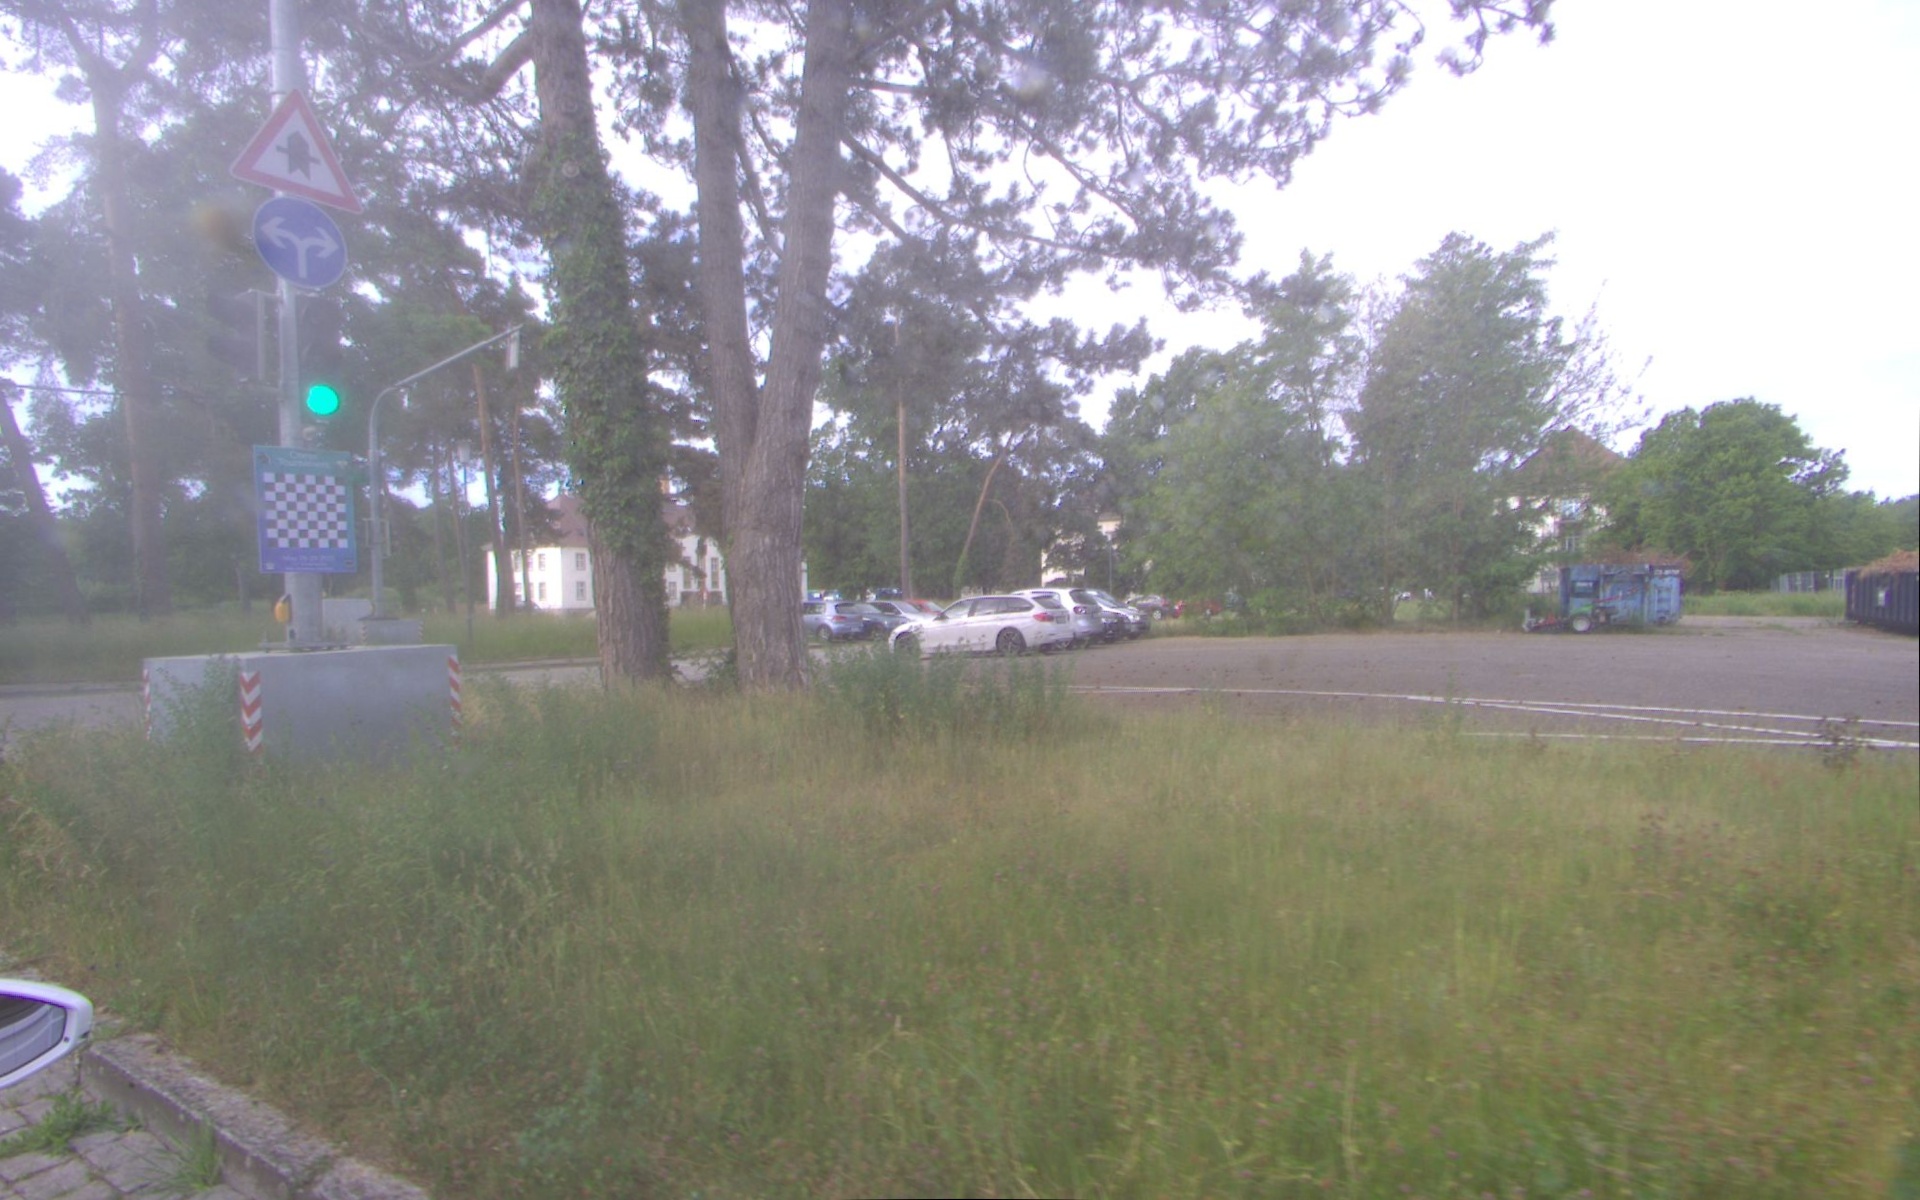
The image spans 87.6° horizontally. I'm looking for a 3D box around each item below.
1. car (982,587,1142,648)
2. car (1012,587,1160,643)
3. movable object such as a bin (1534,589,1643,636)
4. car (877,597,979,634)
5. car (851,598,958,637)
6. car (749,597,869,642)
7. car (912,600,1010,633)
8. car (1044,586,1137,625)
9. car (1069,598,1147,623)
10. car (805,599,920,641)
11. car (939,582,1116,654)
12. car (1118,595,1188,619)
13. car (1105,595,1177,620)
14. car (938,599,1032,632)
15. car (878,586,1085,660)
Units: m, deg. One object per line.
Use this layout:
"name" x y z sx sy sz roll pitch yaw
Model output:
"car" 2.855 0.515 28.421 4.186 1.504 1.697 -4 -1 33
"car" 3.867 0.488 31.017 4.186 1.504 1.697 -4 -1 33
"movable object such as a bin" 15.659 0.323 25.029 2.176 1.149 0.960 -1 -1 23
"car" -1.384 0.630 42.401 4.189 1.487 1.727 0 0 38
"car" -2.256 0.668 40.150 4.189 1.487 1.727 0 0 38
"car" -5.413 0.676 35.773 4.184 1.529 1.730 0 0 33
"car" 0.010 0.706 44.271 4.189 1.409 1.727 0 0 38
"car" 7.275 0.308 55.925 4.724 2.053 2.131 0 0 33
"car" 8.556 0.577 58.018 4.184 1.409 1.729 0 0 34
"car" -3.696 0.728 37.798 4.184 1.487 1.730 0 0 33
"car" 1.744 0.474 26.016 4.181 1.626 1.779 -3 -1 29
"car" 12.721 0.468 65.977 4.182 1.542 1.730 0 0 32
"car" 11.447 0.484 63.478 4.182 1.542 1.730 0 0 32
"car" 1.122 0.694 46.666 4.189 1.492 1.727 0 0 38
"car" 0.472 0.579 23.698 4.541 1.505 1.846 -3 -2 29
